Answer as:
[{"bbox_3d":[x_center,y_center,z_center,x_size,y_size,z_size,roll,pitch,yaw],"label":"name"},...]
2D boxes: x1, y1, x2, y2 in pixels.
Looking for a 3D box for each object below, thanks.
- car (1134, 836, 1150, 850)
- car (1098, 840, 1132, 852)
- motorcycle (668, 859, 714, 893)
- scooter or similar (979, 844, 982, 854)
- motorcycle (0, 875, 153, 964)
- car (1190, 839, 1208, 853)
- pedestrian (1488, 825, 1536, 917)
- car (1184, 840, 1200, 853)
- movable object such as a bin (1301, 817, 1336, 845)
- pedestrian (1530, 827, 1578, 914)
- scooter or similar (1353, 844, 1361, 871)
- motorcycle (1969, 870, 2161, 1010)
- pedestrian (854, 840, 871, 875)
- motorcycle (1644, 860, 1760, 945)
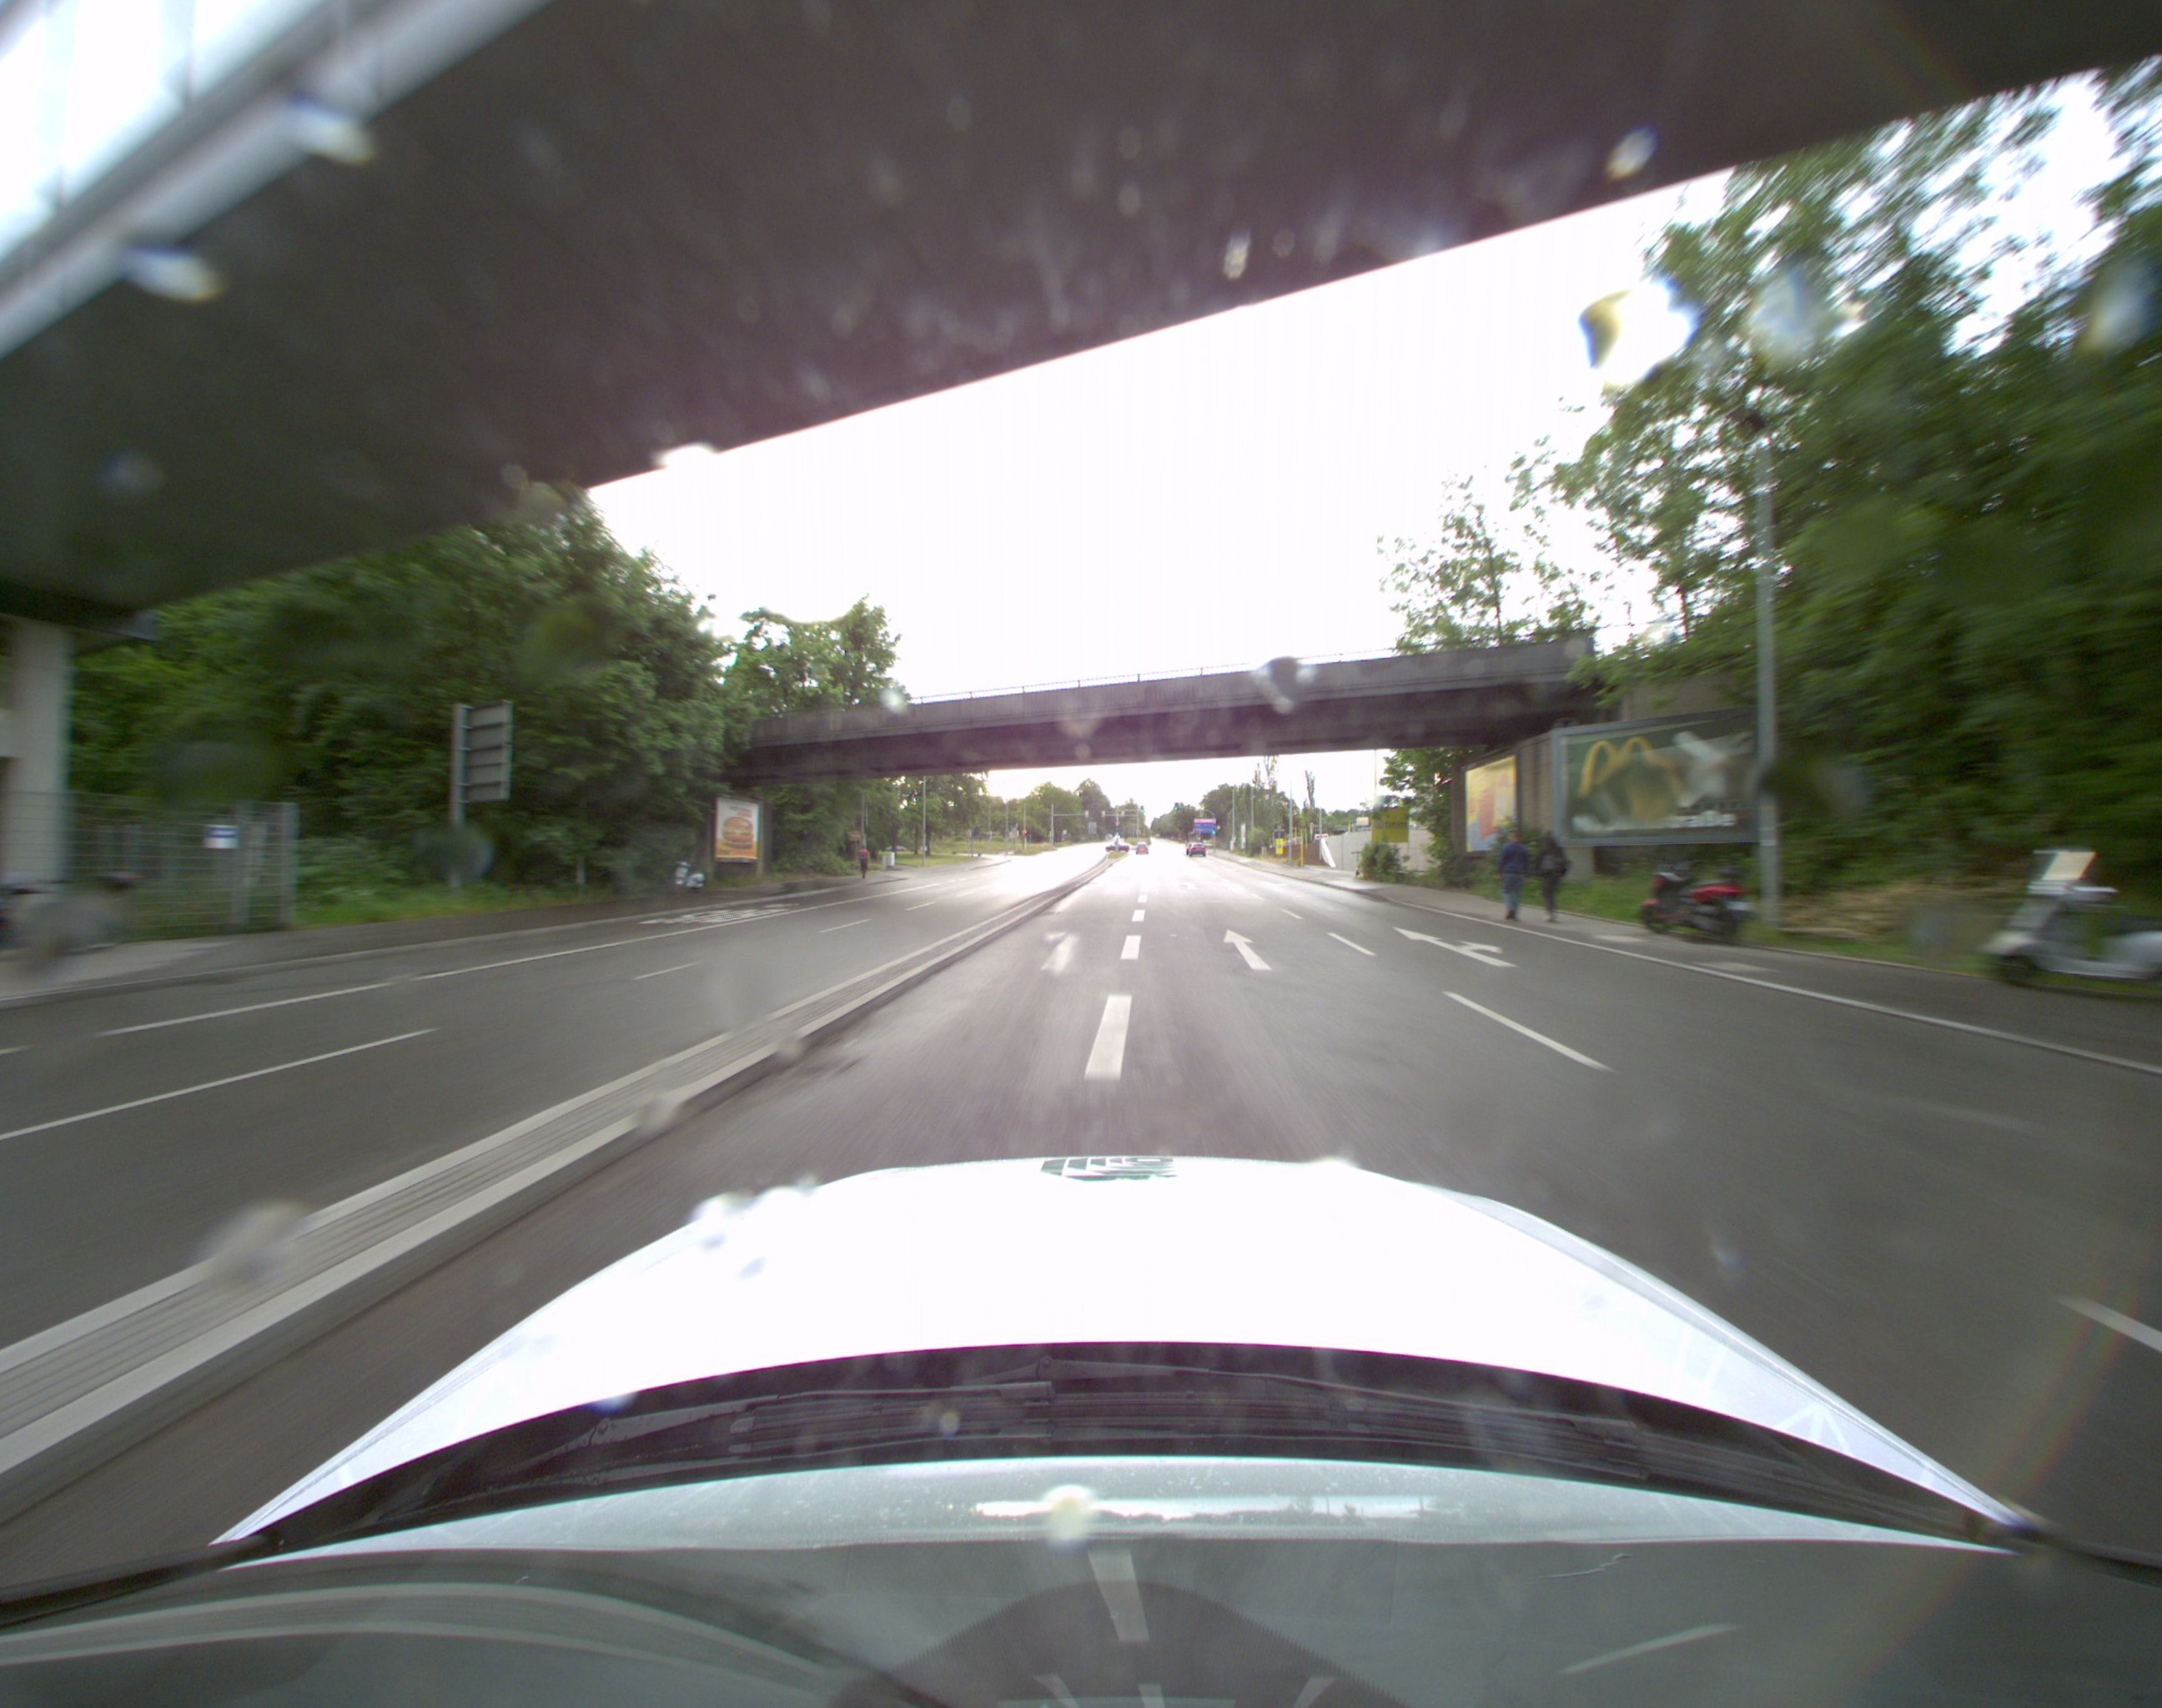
[{"bbox_3d":[8.121,-1.449,108.826,2.067,1.718,4.202,2,0,3],"label":"car"},{"bbox_3d":[5.039,-1.209,121.564,4.604,1.582,2.187,1,0,32],"label":"car"},{"bbox_3d":[-13.975,0.773,29.212,0.466,1.158,1.937,-1,1,8],"label":"motorcycle"},{"bbox_3d":[-12.190,-0.630,98.311,0.311,1.218,1.304,0,1,-9],"label":"scooter or similar"},{"bbox_3d":[-15.624,0.961,12.441,0.466,1.205,1.999,-1,1,5],"label":"motorcycle"},{"bbox_3d":[13.219,-0.955,91.651,1.737,1.470,4.172,0,1,5],"label":"car"},{"bbox_3d":[8.375,0.321,15.851,0.606,1.721,0.895,-1,0,15],"label":"pedestrian"},{"bbox_3d":[13.831,-0.936,101.595,1.737,1.470,4.172,0,1,5],"label":"car"},{"bbox_3d":[27.840,-2.696,95.529,2.296,3.275,5.420,0,1,-2],"label":"movable object such as a bin"},{"bbox_3d":[8.910,0.306,15.344,0.645,1.596,0.581,-1,0,17],"label":"pedestrian"},{"bbox_3d":[12.215,0.146,35.993,0.253,1.129,1.286,0,1,22],"label":"scooter or similar"},{"bbox_3d":[9.783,0.783,7.669,0.470,1.213,1.935,-1,0,-13],"label":"motorcycle"},{"bbox_3d":[-11.523,0.161,42.899,0.516,1.816,0.802,0,1,15],"label":"pedestrian"},{"bbox_3d":[9.179,0.675,12.125,0.467,1.136,1.821,-1,0,5],"label":"motorcycle"}]
